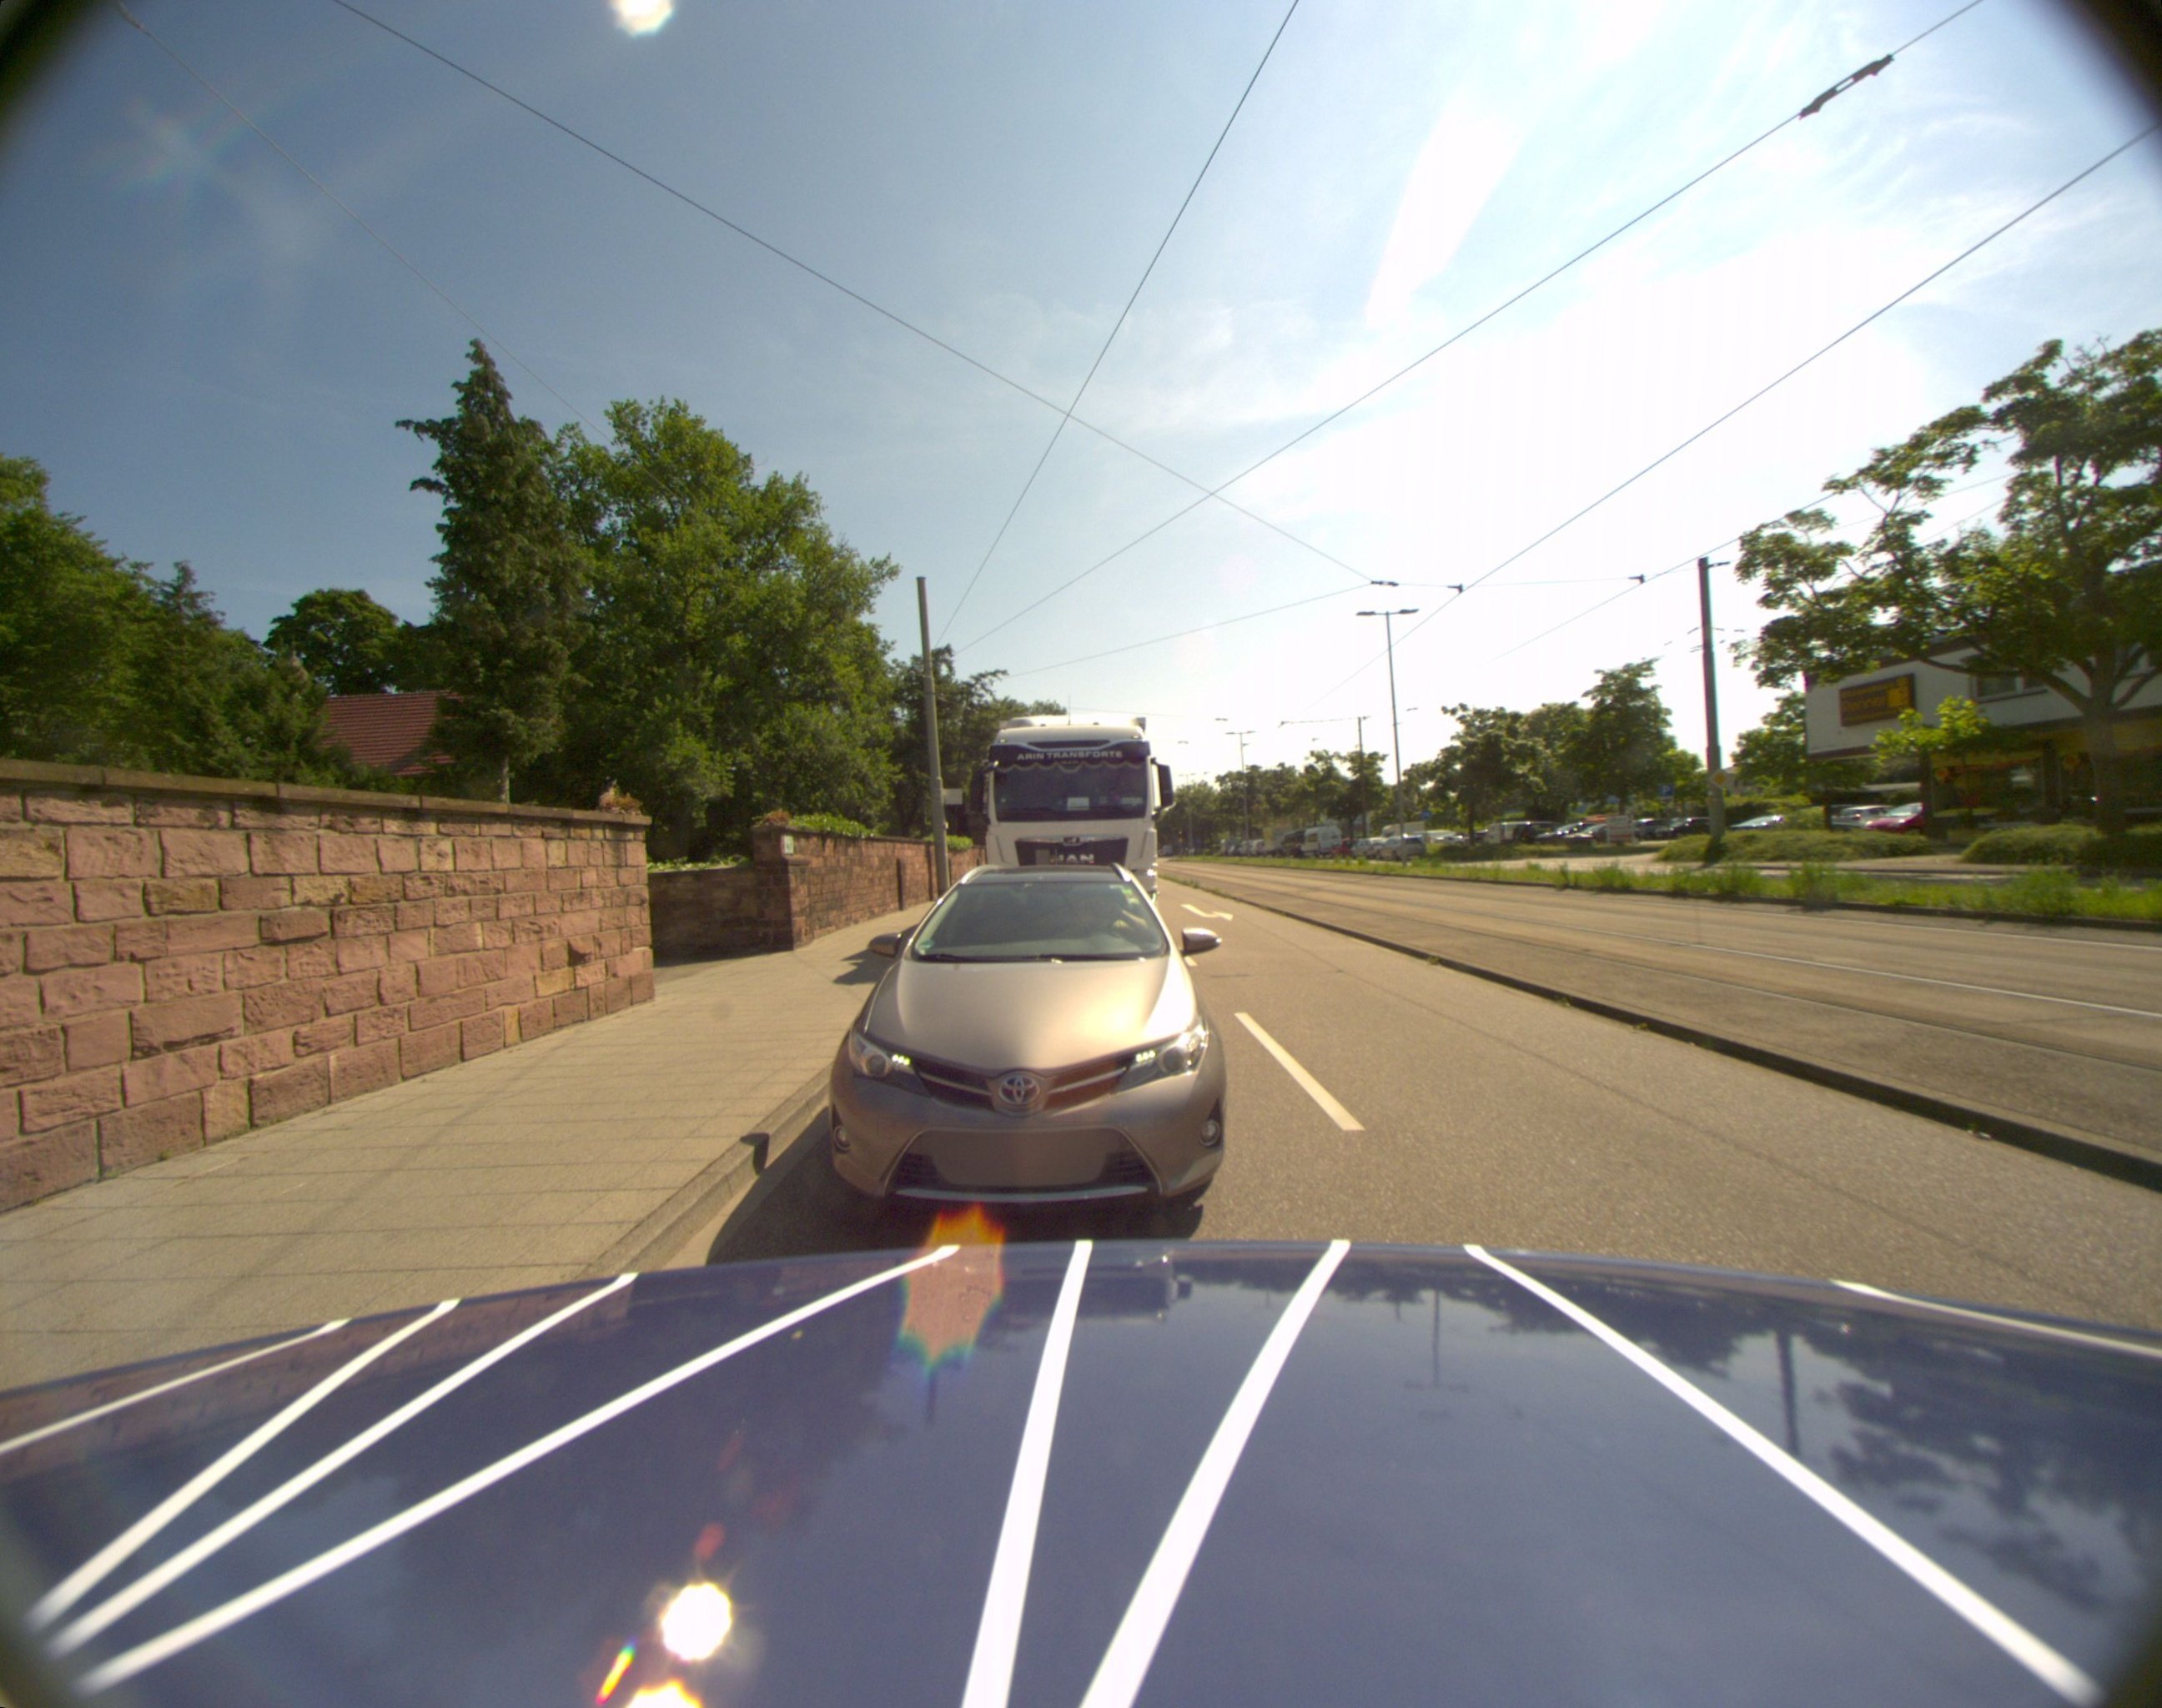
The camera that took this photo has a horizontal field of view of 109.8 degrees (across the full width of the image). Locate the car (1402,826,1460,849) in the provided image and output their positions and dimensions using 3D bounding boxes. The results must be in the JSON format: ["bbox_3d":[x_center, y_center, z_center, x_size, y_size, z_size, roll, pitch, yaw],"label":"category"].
[{"bbox_3d":[31.164,-1.399,67.884,2.594,1.800,5.741,-3,0,2],"label":"car"}]

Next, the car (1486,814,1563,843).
[{"bbox_3d":[30.691,-1.771,52.673,4.117,1.728,1.990,-3,1,-2],"label":"car"}]

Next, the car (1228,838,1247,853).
[{"bbox_3d":[20.613,-1.084,100.075,1.502,1.775,3.687,-6,0,0],"label":"car"}]

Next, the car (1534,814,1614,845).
[{"bbox_3d":[30.518,-1.489,47.121,3.810,1.625,1.676,-3,1,2],"label":"car"}]

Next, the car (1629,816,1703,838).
[{"bbox_3d":[44.189,-2.028,57.460,4.252,1.327,1.676,-3,0,2],"label":"car"}]

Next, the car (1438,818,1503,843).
[{"bbox_3d":[31.226,-1.888,60.981,4.117,1.728,1.990,-3,1,-2],"label":"car"}]

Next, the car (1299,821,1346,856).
[{"bbox_3d":[20.272,-1.280,63.992,2.062,2.638,5.203,-6,0,1],"label":"car"}]

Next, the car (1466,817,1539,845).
[{"bbox_3d":[30.531,-1.683,55.143,4.117,1.728,1.990,-3,1,-2],"label":"car"}]

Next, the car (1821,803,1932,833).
[{"bbox_3d":[44.234,-1.970,42.314,4.252,1.327,1.676,-3,0,2],"label":"car"}]

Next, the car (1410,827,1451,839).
[{"bbox_3d":[43.726,-2.619,95.045,4.253,1.327,1.676,-3,0,1],"label":"car"}]

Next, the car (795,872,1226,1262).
[{"bbox_3d":[-0.257,0.891,4.996,1.654,1.374,4.000,-2,0,0],"label":"car"}]

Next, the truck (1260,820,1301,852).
[{"bbox_3d":[20.612,-1.850,78.834,2.508,2.917,5.903,-6,0,2],"label":"truck"}]

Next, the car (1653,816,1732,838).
[{"bbox_3d":[44.054,-1.928,54.784,4.252,1.327,1.676,-3,0,2],"label":"car"}]

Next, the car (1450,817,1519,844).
[{"bbox_3d":[30.584,-1.759,57.650,4.117,1.728,1.990,-3,1,-2],"label":"car"}]

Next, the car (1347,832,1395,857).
[{"bbox_3d":[20.443,-0.626,53.660,1.675,1.524,4.256,-6,0,1],"label":"car"}]

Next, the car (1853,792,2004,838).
[{"bbox_3d":[35.262,-1.584,31.687,4.252,1.595,1.676,-3,1,2],"label":"car"}]

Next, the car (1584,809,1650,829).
[{"bbox_3d":[44.082,-2.852,62.522,4.254,1.327,1.676,-3,0,-1],"label":"car"}]

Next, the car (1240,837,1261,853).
[{"bbox_3d":[20.963,-1.100,94.223,1.502,1.835,4.059,-6,0,0],"label":"car"}]

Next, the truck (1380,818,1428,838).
[{"bbox_3d":[44.664,-3.580,105.153,5.652,2.367,1.990,-3,1,-2],"label":"truck"}]

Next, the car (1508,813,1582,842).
[{"bbox_3d":[30.575,-1.715,50.139,3.810,1.625,1.676,-3,1,2],"label":"car"}]

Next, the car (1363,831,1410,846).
[{"bbox_3d":[32.309,-1.591,80.401,4.253,1.327,1.676,-3,0,1],"label":"car"}]

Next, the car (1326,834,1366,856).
[{"bbox_3d":[20.470,-0.686,58.758,1.675,1.524,3.793,-6,0,1],"label":"car"}]

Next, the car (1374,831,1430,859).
[{"bbox_3d":[20.300,-0.580,48.257,1.675,1.524,4.256,-6,0,1],"label":"car"}]

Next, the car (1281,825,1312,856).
[{"bbox_3d":[19.956,-1.206,70.432,1.502,2.609,4.007,-6,0,1],"label":"car"}]

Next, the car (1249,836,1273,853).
[{"bbox_3d":[20.689,-1.051,87.364,1.502,1.793,4.633,-6,0,1],"label":"car"}]

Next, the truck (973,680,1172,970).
[{"bbox_3d":[-0.021,-0.449,15.103,2.628,3.906,9.285,-2,1,1],"label":"truck"}]
